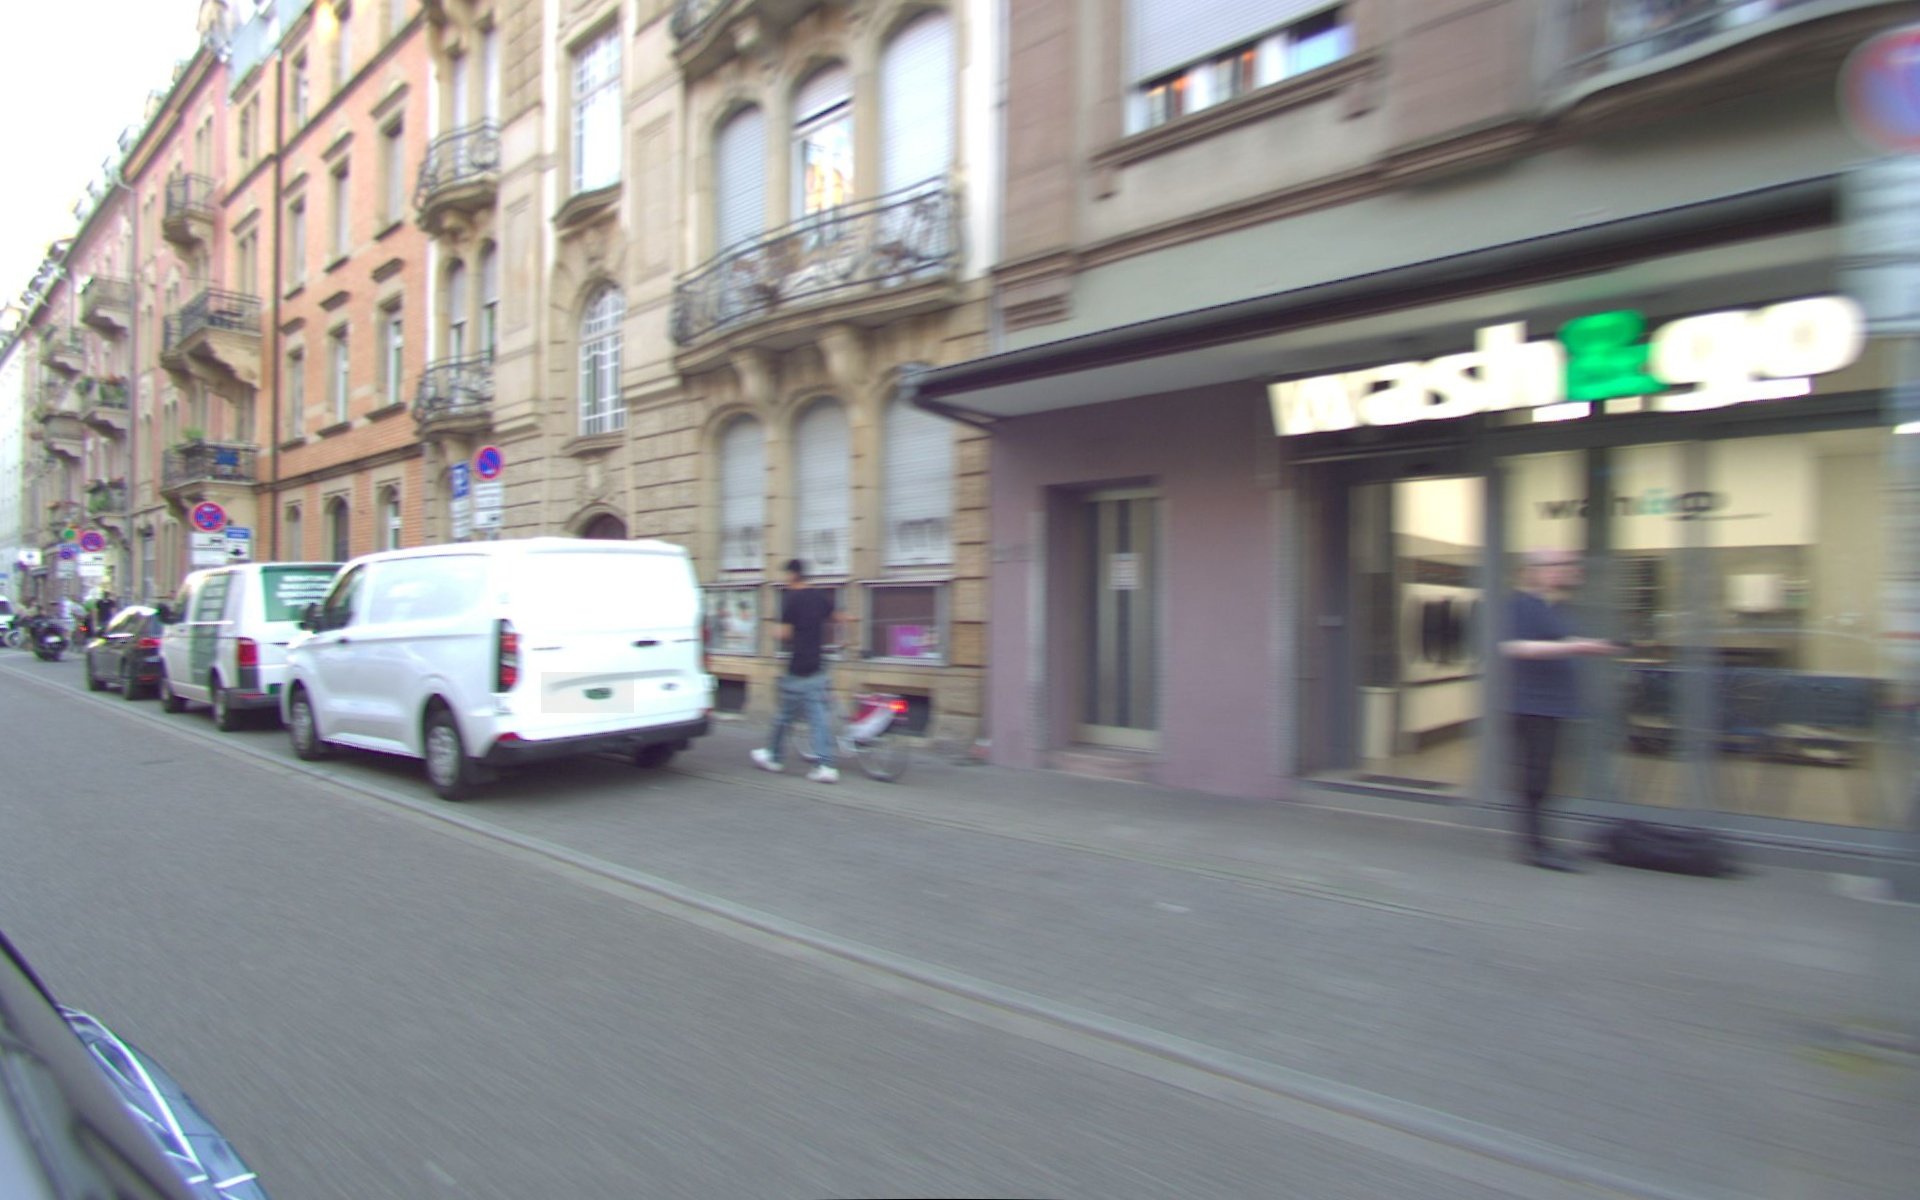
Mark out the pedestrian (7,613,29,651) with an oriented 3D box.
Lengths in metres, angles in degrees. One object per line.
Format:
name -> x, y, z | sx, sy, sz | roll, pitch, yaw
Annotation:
pedestrian -> -32.116, 1.081, 34.507 | 0.652, 1.260, 0.473 | 0, 1, 42

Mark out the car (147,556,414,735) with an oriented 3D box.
car -> -9.008, 0.508, 13.233 | 4.845, 1.936, 1.817 | 0, -1, 43

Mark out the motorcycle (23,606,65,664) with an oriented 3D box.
motorcycle -> -23.592, 0.876, 26.051 | 2.015, 1.415, 0.677 | 0, 1, 44

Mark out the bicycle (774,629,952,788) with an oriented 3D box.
bicycle -> -0.858, 0.850, 8.507 | 0.466, 1.151, 1.786 | -1, 1, -45

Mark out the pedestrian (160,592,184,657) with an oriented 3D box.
pedestrian -> -22.095, 0.670, 28.371 | 0.458, 1.803, 0.642 | -1, 1, -45

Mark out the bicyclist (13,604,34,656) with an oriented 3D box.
bicyclist -> -29.476, 0.932, 31.840 | 0.487, 1.602, 0.460 | 0, 1, 45

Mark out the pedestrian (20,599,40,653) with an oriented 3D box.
pedestrian -> -29.785, 0.825, 32.419 | 0.350, 1.722, 0.414 | 0, 0, 36

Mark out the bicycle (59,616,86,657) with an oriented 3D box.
bicycle -> -26.239, 1.061, 29.920 | 1.838, 1.168, 0.407 | 0, 1, 43

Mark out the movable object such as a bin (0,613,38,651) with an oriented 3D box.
movable object such as a bin -> -32.049, 1.081, 34.469 | 0.776, 1.260, 0.878 | 0, 1, 42

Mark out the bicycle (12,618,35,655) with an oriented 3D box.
bicycle -> -29.349, 1.136, 31.708 | 0.460, 1.076, 1.521 | -1, 1, -45

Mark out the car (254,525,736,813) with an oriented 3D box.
car -> -4.438, 0.481, 9.241 | 5.022, 1.936, 2.088 | 0, -1, 40

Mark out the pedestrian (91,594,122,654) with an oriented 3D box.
pedestrian -> -26.634, 0.731, 31.583 | 0.674, 1.824, 0.962 | -1, 1, -44

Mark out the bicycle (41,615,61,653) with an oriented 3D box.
bicycle -> -29.422, 1.095, 32.769 | 0.460, 1.164, 2.003 | -1, 1, -41

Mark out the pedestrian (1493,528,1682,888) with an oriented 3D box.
pedestrian -> 3.265, 0.504, 5.259 | 0.735, 1.690, 0.702 | -1, 0, 39

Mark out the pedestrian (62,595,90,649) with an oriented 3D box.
pedestrian -> -30.567, 0.760, 34.996 | 0.589, 1.827, 0.723 | -1, 0, -30

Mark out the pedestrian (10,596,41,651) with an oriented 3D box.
pedestrian -> -31.479, 0.774, 34.091 | 0.718, 1.827, 0.593 | 0, 0, 33

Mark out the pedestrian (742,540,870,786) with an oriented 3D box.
pedestrian -> -1.244, 0.467, 8.117 | 0.530, 1.837, 0.997 | -1, 1, -45

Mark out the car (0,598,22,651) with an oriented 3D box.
car -> -34.689, 0.842, 35.735 | 4.584, 1.802, 1.752 | 0, 0, 40

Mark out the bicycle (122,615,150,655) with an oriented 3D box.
bicycle -> -25.044, 1.047, 30.746 | 1.838, 1.168, 0.407 | 0, 1, 43

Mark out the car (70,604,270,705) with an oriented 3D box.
car -> -13.355, 0.822, 17.028 | 4.169, 1.482, 1.818 | 0, -1, 40
